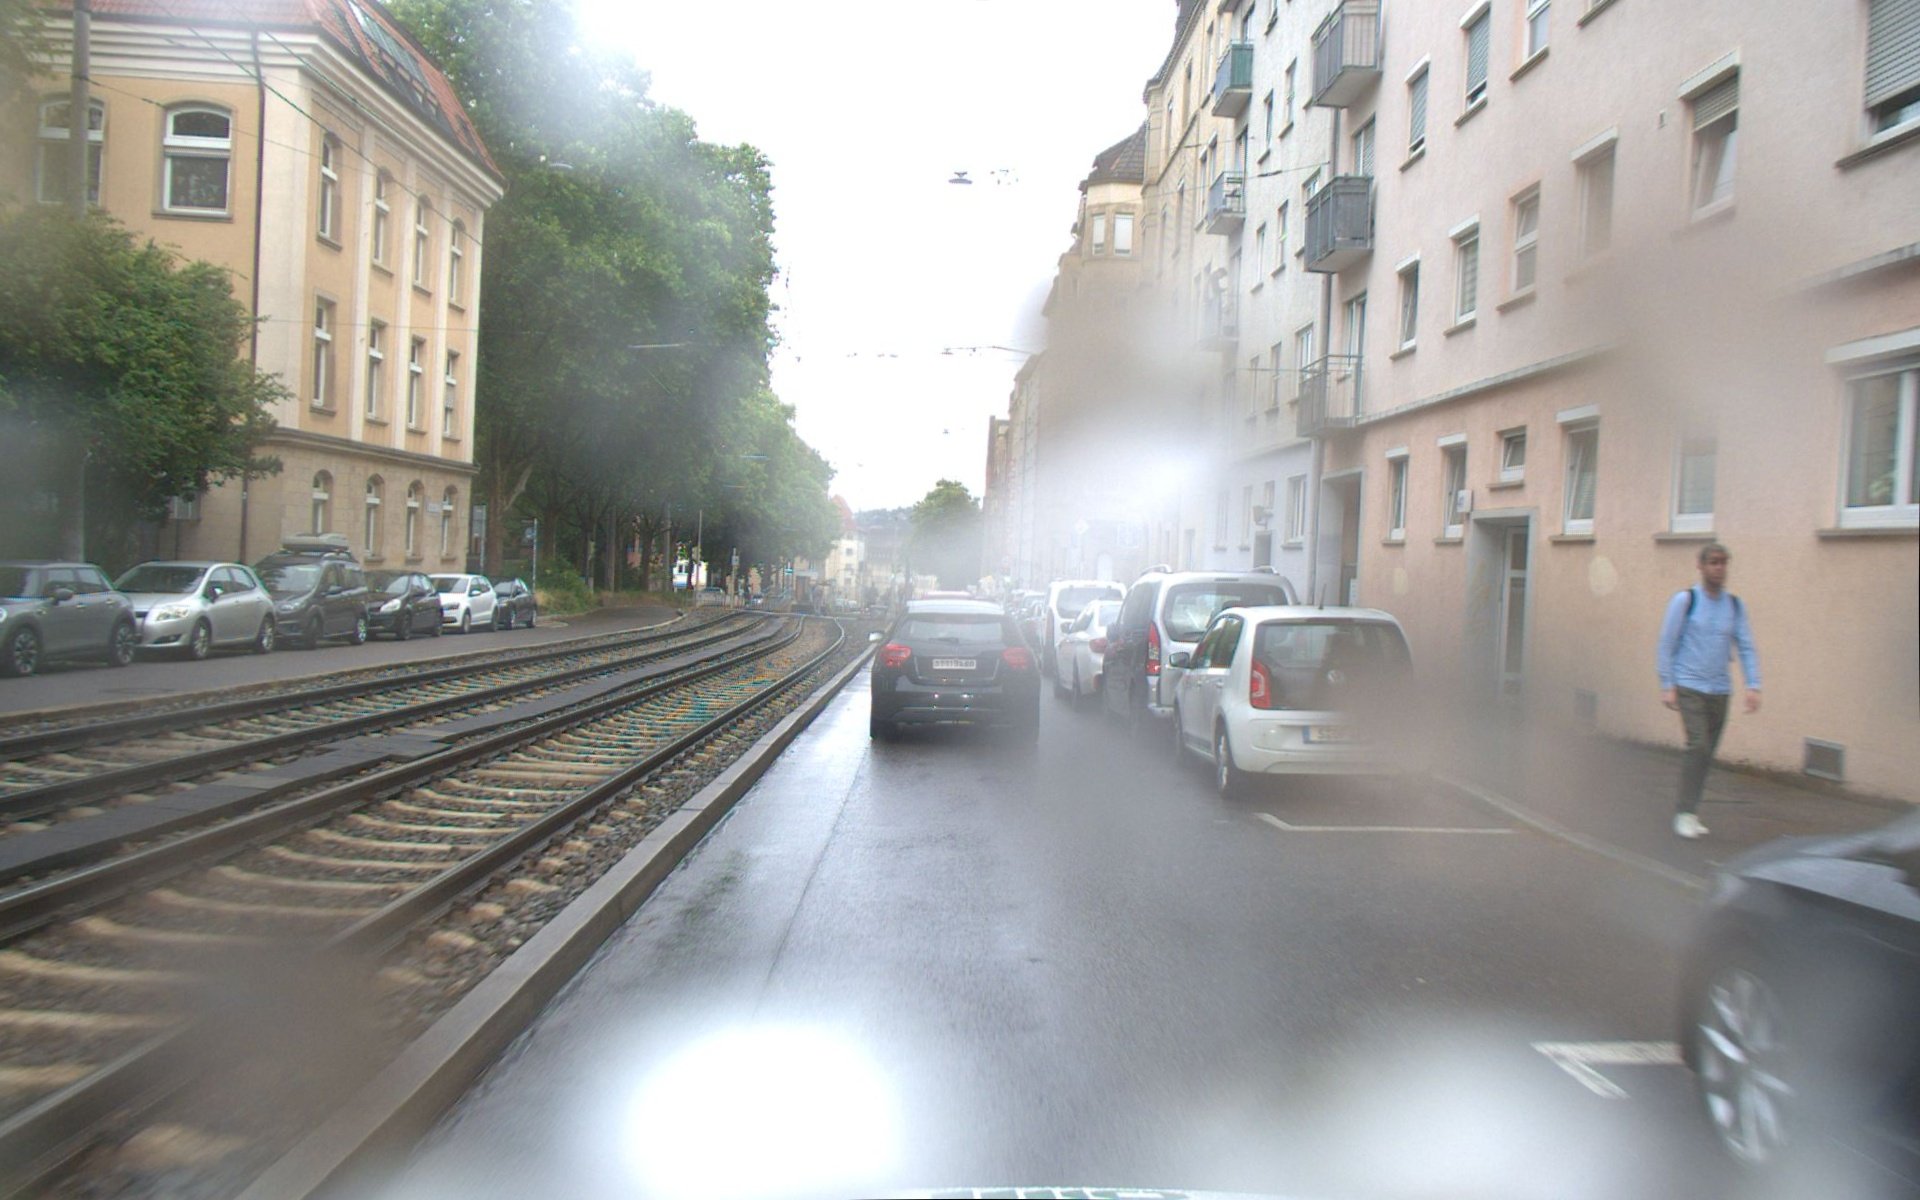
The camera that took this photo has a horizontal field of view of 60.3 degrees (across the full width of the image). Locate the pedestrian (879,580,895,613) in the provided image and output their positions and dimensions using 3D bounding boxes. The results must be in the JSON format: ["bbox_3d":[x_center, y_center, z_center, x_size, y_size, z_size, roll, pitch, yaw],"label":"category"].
[{"bbox_3d":[-3.734,-0.183,84.918,0.789,1.662,0.892,0,0,-1],"label":"pedestrian"}]

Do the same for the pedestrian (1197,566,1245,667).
[{"bbox_3d":[4.940,0.308,31.308,0.730,1.866,1.039,-1,0,0],"label":"pedestrian"}]

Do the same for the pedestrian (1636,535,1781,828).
[{"bbox_3d":[4.727,0.496,10.482,0.595,1.794,0.688,0,0,-2],"label":"pedestrian"}]

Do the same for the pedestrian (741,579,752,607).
[{"bbox_3d":[-13.949,-0.435,107.949,0.523,1.784,0.607,3,0,-1],"label":"pedestrian"}]

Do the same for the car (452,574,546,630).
[{"bbox_3d":[-12.778,0.022,46.045,1.581,1.454,3.851,1,1,-1],"label":"car"}]

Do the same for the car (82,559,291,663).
[{"bbox_3d":[-12.290,0.157,26.562,1.508,1.531,4.153,0,0,-2],"label":"car"}]

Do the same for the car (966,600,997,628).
[{"bbox_3d":[1.270,0.819,100.152,1.790,1.646,3.863,0,0,-1],"label":"car"}]

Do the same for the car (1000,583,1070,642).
[{"bbox_3d":[2.302,0.382,51.841,1.731,1.697,4.330,2,0,-3],"label":"car"}]

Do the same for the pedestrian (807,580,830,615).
[{"bbox_3d":[-7.187,-0.125,84.096,1.033,1.748,0.904,2,0,0],"label":"pedestrian"}]

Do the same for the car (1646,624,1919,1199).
[{"bbox_3d":[3.009,0.815,2.933,1.636,1.434,4.310,1,0,-3],"label":"car"}]

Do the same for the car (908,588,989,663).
[{"bbox_3d":[-0.284,0.566,38.828,1.749,1.609,3.999,2,0,-1],"label":"car"}]

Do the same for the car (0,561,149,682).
[{"bbox_3d":[-12.292,0.253,21.628,1.508,1.438,3.951,0,0,-2],"label":"car"}]

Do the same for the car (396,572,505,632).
[{"bbox_3d":[-12.619,0.035,41.191,1.469,1.415,3.987,0,0,0],"label":"car"}]

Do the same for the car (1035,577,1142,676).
[{"bbox_3d":[2.495,0.479,33.005,1.791,1.781,4.467,2,0,1],"label":"car"}]

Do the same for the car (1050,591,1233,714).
[{"bbox_3d":[2.410,0.643,23.178,1.833,1.481,4.901,1,0,-2],"label":"car"}]

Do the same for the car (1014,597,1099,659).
[{"bbox_3d":[2.340,0.648,41.041,1.683,1.370,4.460,2,0,-2],"label":"car"}]

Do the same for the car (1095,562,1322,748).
[{"bbox_3d":[2.587,0.529,18.183,1.754,1.796,4.211,1,0,-2],"label":"car"}]

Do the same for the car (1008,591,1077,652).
[{"bbox_3d":[2.258,0.567,46.057,1.659,1.556,3.999,2,0,-1],"label":"car"}]

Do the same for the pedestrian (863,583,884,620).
[{"bbox_3d":[-4.724,0.073,90.531,1.115,2.033,1.171,0,0,-5],"label":"pedestrian"}]

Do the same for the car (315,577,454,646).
[{"bbox_3d":[-12.589,0.226,36.446,1.640,1.438,4.010,0,0,0],"label":"car"}]

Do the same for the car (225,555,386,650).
[{"bbox_3d":[-12.332,0.039,31.428,1.544,1.672,4.070,0,0,-2],"label":"car"}]

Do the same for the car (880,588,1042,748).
[{"bbox_3d":[-0.028,0.665,18.034,1.548,1.531,3.573,2,0,-1],"label":"car"}]

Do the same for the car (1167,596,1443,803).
[{"bbox_3d":[2.763,0.731,13.964,1.538,1.487,3.599,1,0,-1],"label":"car"}]
